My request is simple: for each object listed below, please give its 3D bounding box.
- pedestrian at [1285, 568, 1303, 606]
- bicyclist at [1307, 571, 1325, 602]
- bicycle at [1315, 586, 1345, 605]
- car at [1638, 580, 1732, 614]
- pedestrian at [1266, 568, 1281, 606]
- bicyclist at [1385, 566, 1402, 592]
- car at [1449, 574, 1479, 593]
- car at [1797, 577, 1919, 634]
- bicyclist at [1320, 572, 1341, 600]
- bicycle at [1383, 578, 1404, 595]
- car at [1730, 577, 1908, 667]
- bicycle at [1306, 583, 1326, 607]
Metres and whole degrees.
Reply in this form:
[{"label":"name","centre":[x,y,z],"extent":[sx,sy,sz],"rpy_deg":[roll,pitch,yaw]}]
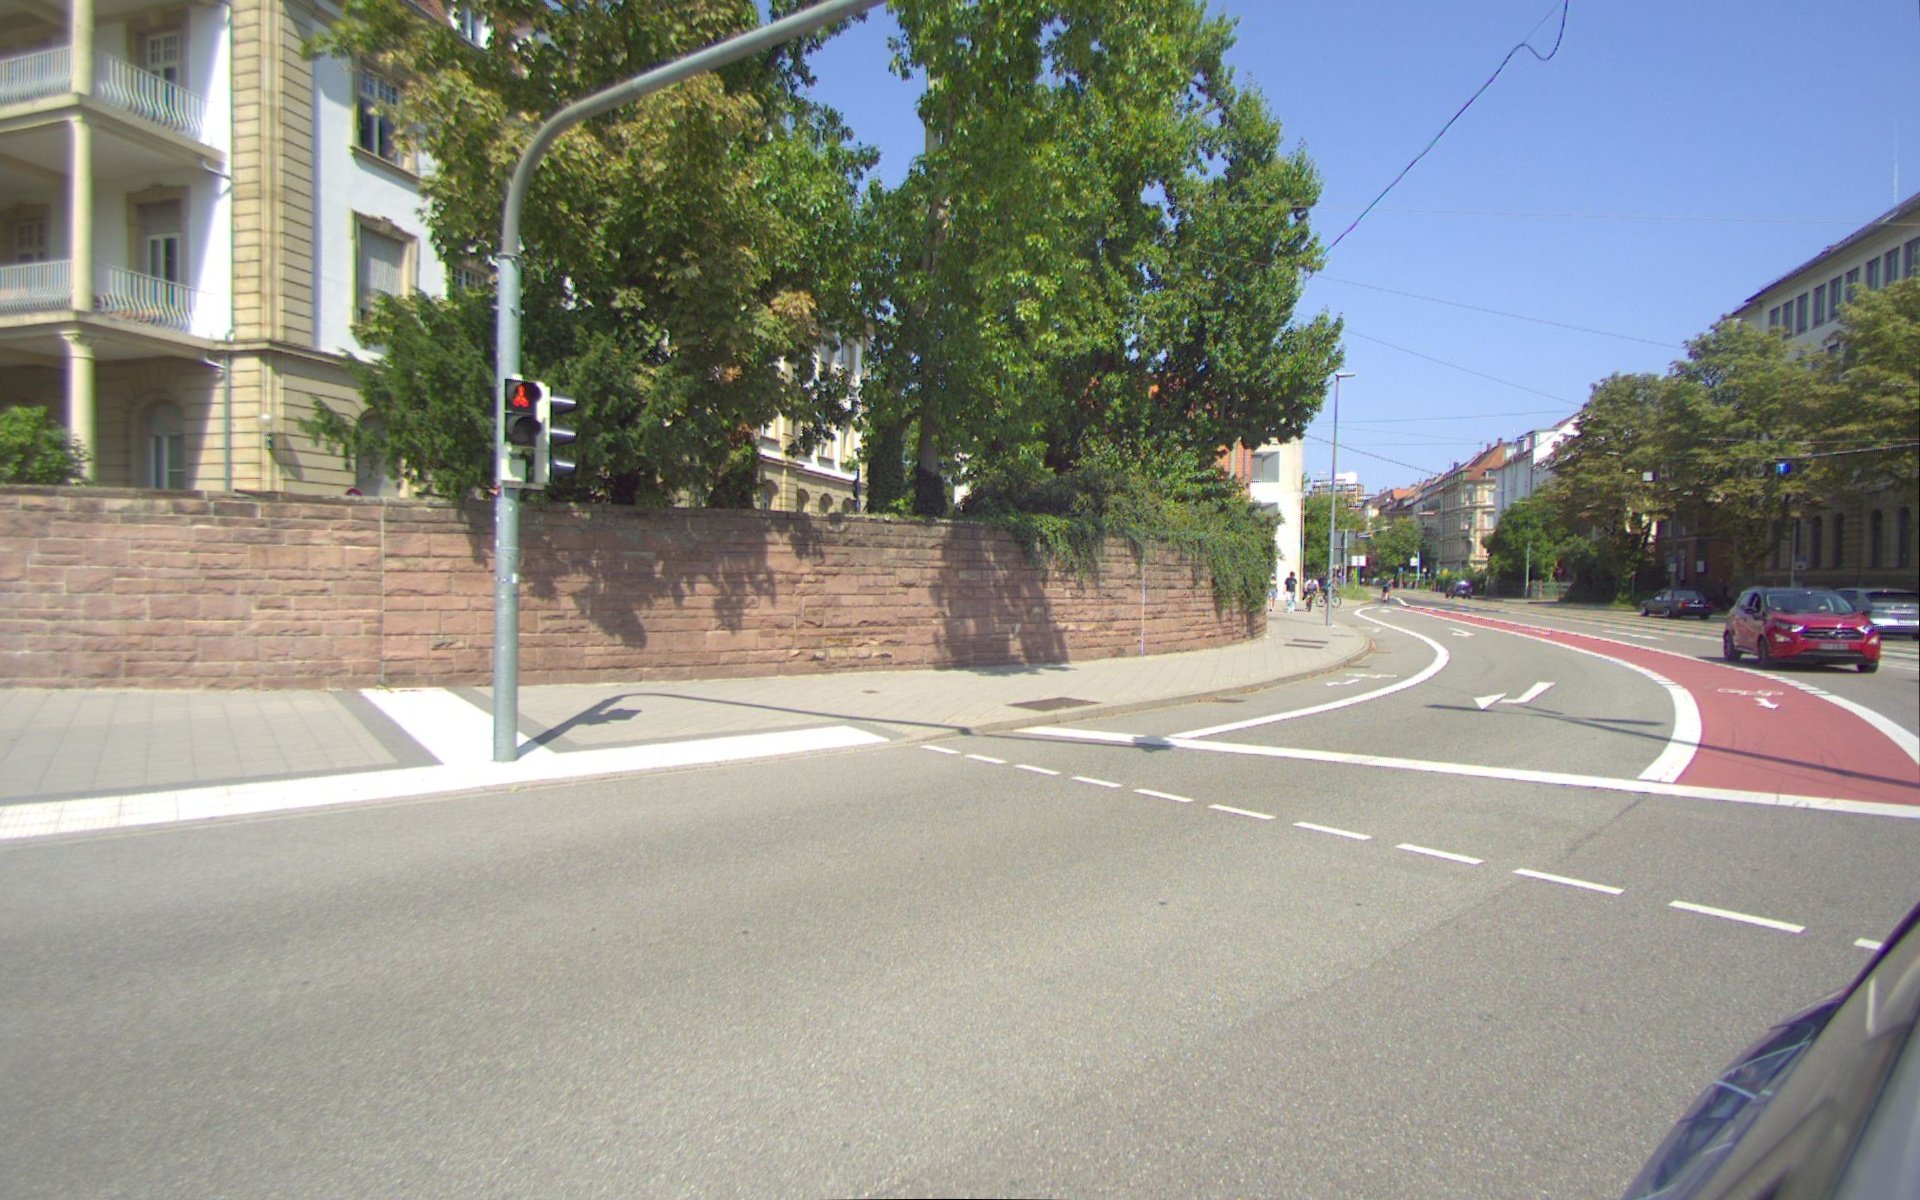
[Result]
[{"label":"pedestrian","centre":[14.935,-0.587,45.264],"extent":[0.720,1.686,0.874],"rpy_deg":[1,1,18]},{"label":"bicyclist","centre":[16.831,-0.648,47.828],"extent":[0.737,1.429,0.957],"rpy_deg":[1,1,16]},{"label":"bicycle","centre":[21.544,-0.257,58.944],"extent":[1.676,1.012,0.617],"rpy_deg":[1,1,-28]},{"label":"car","centre":[33.599,-0.175,47.058],"extent":[1.666,1.395,4.606],"rpy_deg":[1,2,10]},{"label":"pedestrian","centre":[14.158,-0.600,45.723],"extent":[0.611,1.687,0.485],"rpy_deg":[1,1,15]},{"label":"bicyclist","centre":[27.272,-1.297,63.652],"extent":[0.626,1.618,0.976],"rpy_deg":[2,2,45]},{"label":"car","centre":[44.542,-1.469,89.465],"extent":[1.673,1.675,3.564],"rpy_deg":[1,2,16]},{"label":"car","centre":[28.931,0.124,32.092],"extent":[1.751,1.630,4.655],"rpy_deg":[1,2,14]},{"label":"bicyclist","centre":[21.560,-0.834,58.924],"extent":[0.885,1.558,0.629],"rpy_deg":[2,2,-28]},{"label":"bicycle","centre":[27.277,-0.838,63.701],"extent":[0.614,1.012,1.684],"rpy_deg":[3,2,44]},{"label":"car","centre":[16.926,0.351,20.176],"extent":[1.800,1.570,3.983],"rpy_deg":[1,1,27]},{"label":"bicycle","centre":[16.804,-0.243,47.827],"extent":[0.731,1.062,2.222],"rpy_deg":[1,1,16]}]
